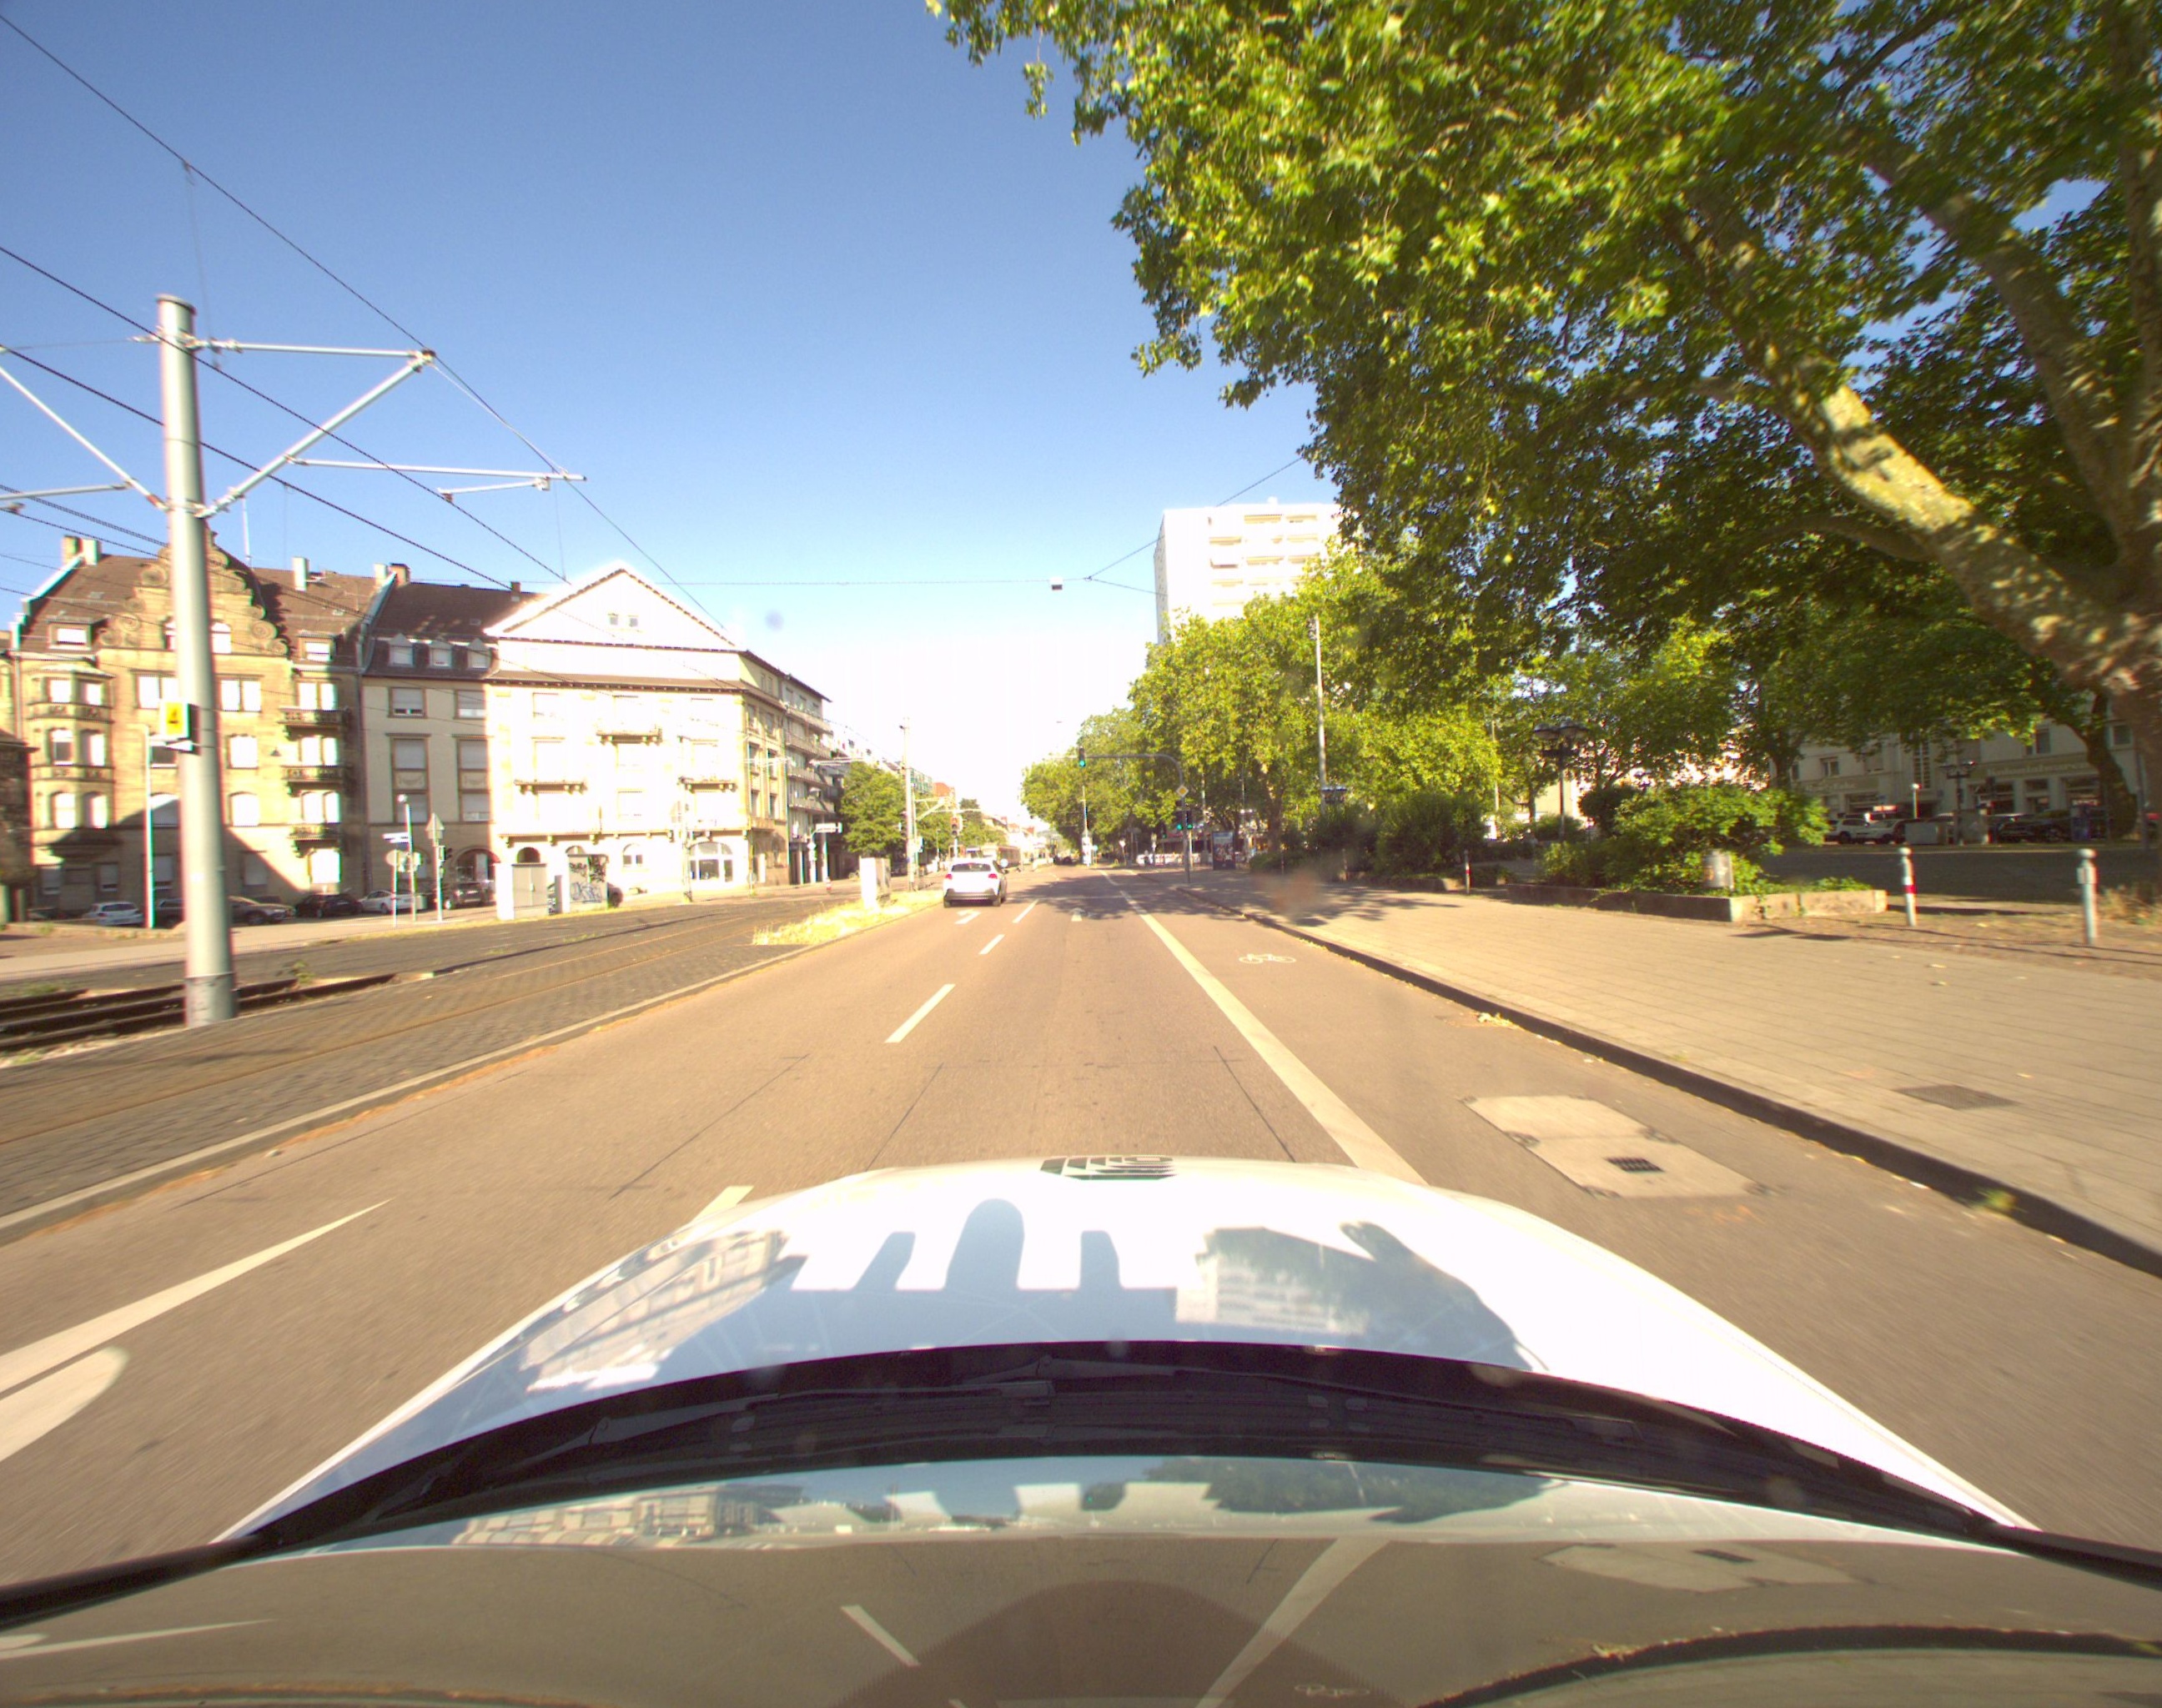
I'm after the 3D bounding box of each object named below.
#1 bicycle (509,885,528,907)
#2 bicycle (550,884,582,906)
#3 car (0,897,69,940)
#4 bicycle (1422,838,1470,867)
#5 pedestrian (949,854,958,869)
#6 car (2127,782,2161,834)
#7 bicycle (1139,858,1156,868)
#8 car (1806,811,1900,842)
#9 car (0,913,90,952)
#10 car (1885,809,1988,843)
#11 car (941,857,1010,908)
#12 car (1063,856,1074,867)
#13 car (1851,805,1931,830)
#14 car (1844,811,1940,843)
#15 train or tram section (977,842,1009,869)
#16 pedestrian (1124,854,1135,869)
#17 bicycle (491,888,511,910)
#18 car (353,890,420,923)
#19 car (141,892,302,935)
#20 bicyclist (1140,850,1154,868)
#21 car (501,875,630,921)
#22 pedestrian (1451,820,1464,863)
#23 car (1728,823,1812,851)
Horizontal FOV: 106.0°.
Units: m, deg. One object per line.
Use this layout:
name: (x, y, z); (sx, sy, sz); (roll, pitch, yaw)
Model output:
bicycle: (-36.329, 2.716, 52.617); (0.827, 1.283, 2.540); (0, 0, -31)
bicycle: (-34.063, 2.702, 53.906); (0.821, 1.282, 2.557); (0, 0, -8)
car: (-48.676, 2.869, 35.798); (4.776, 1.753, 2.137); (0, 0, -25)
bicycle: (16.075, -0.078, 35.855); (2.328, 1.240, 0.451); (0, 0, -21)
pedestrian: (-15.331, 0.929, 98.031); (0.961, 1.833, 0.988); (0, 0, -6)
car: (57.000, -2.353, 41.492); (5.054, 2.626, 2.056); (0, 0, -3)
bicycle: (6.267, 0.821, 77.378); (1.197, 0.934, 2.569); (0, 0, -5)
car: (46.399, -1.650, 48.962); (4.281, 1.618, 1.858); (-3, 0, -9)
car: (-55.548, 4.140, 43.529); (4.543, 1.753, 2.011); (0, 0, 22)
car: (46.582, -1.509, 44.381); (3.984, 1.618, 1.858); (-3, 0, -8)
car: (-3.242, 0.838, 25.652); (1.740, 1.462, 3.643); (0, 0, -1)
car: (-2.331, 1.480, 154.451); (1.987, 2.013, 4.000); (0, 0, 0)
car: (56.643, -2.574, 56.961); (3.979, 1.659, 1.816); (0, 0, -5)
car: (46.484, -1.536, 46.710); (3.984, 1.618, 1.858); (-3, 0, -8)
train or tram section: (-11.739, 0.139, 109.501); (2.942, 3.410, 10.791); (0, 0, 1)
pedestrian: (4.438, 0.682, 74.853); (0.653, 1.388, 0.837); (0, 0, 32)
bicycle: (-37.116, 2.884, 52.146); (0.827, 1.283, 2.540); (0, 0, -31)
car: (-42.487, 3.156, 49.788); (4.538, 1.753, 2.013); (0, 0, 34)
car: (-41.232, 2.821, 39.248); (4.949, 1.753, 1.982); (0, 0, -27)
bicyclist: (6.257, 0.431, 77.426); (1.197, 1.696, 0.902); (0, 0, -6)
car: (-20.825, 1.726, 33.208); (1.987, 1.449, 4.840); (-5, 0, 0)
pedestrian: (16.352, -0.547, 35.382); (0.390, 1.865, 0.340); (0, 0, 5)
car: (45.825, -1.117, 54.211); (3.878, 1.684, 1.999); (-3, 0, -2)
